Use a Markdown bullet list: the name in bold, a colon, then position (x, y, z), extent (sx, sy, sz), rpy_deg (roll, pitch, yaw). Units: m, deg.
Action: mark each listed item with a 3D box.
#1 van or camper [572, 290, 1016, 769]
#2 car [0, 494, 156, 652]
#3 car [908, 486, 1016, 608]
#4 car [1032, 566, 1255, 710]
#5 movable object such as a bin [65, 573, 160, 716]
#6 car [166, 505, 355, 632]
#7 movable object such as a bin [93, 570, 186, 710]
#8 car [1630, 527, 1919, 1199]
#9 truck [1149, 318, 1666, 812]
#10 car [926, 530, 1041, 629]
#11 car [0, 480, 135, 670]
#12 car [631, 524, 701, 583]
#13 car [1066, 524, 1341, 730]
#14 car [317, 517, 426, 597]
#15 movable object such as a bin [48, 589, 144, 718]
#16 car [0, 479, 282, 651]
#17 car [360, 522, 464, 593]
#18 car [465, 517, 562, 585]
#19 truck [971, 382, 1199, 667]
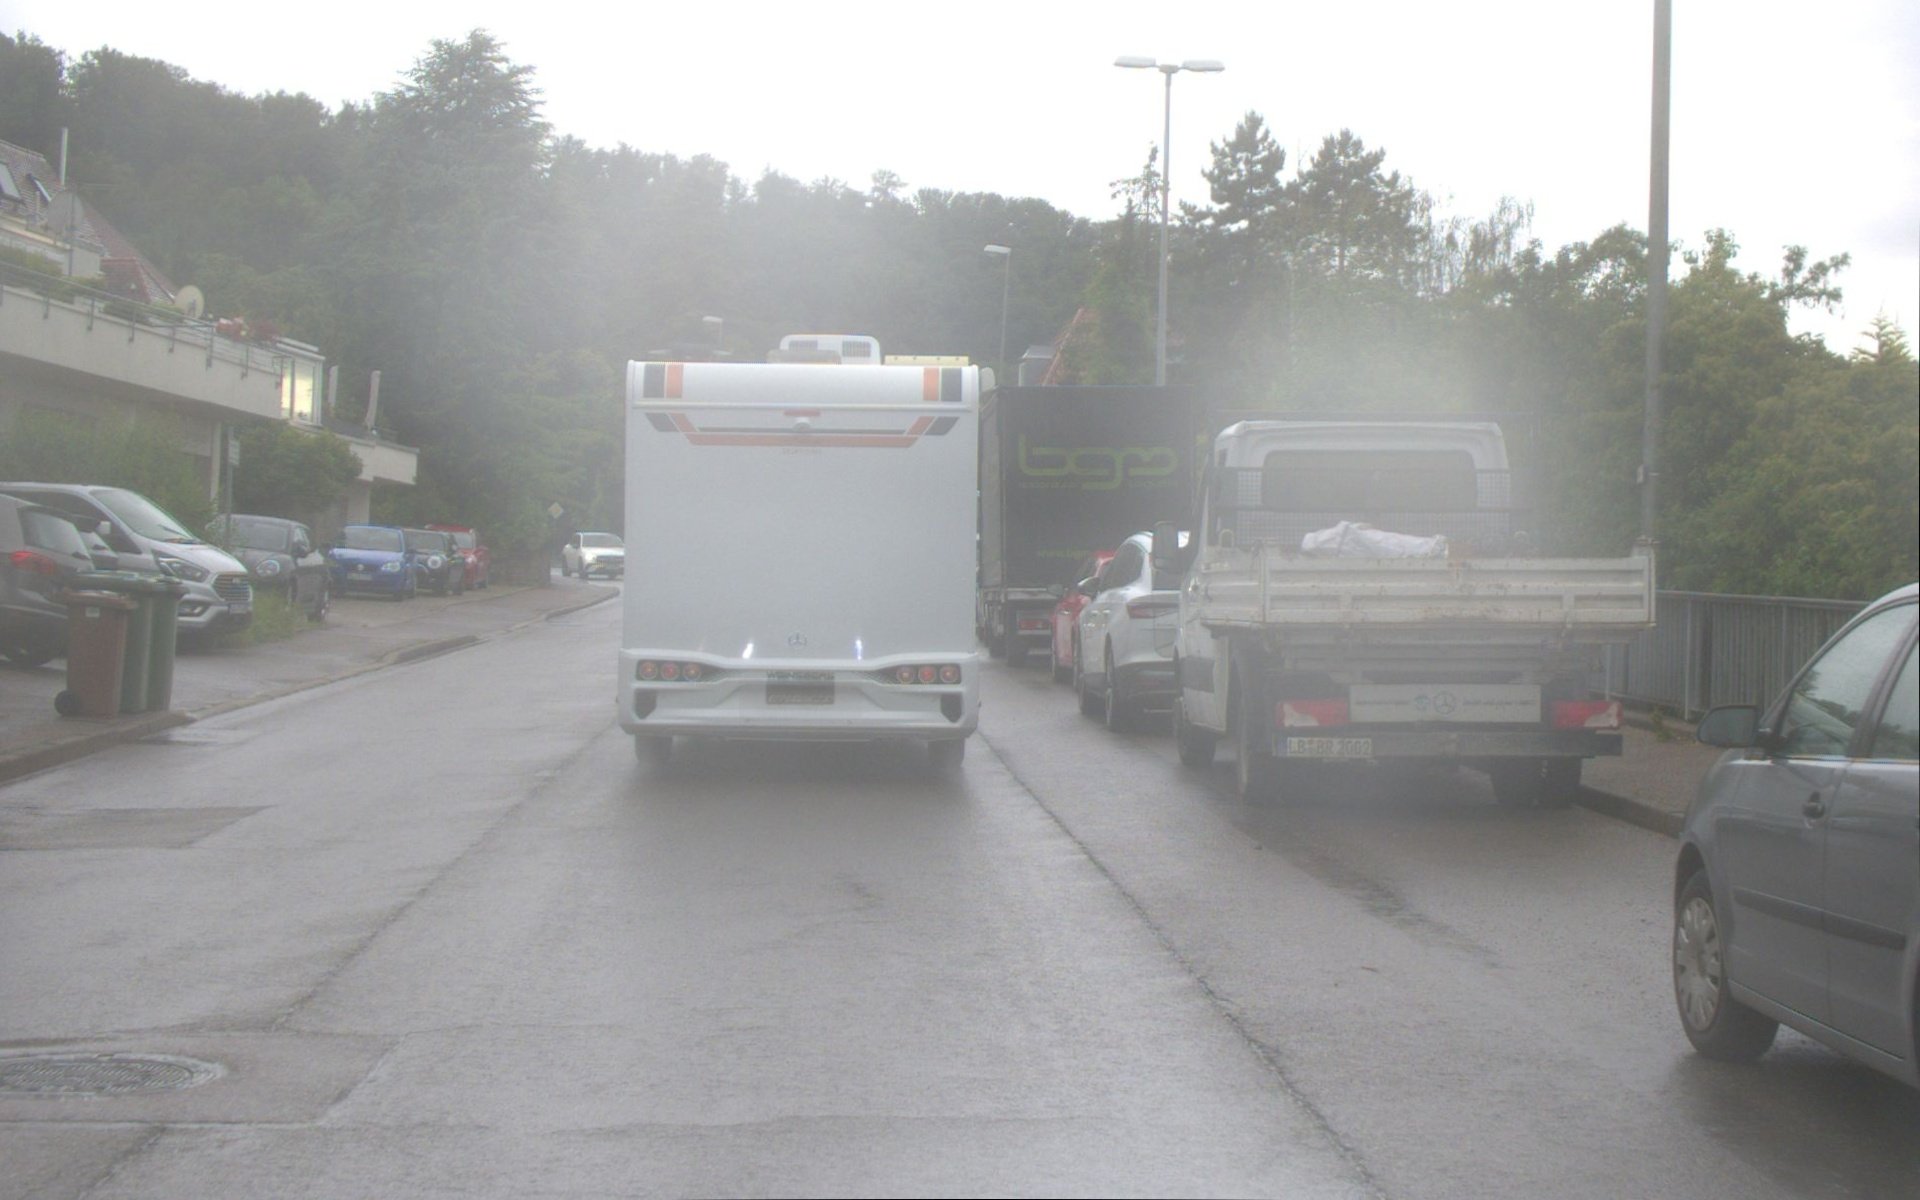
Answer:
- **van or camper**: position (-1.112, -0.398, 24.126), extent (2.615, 2.843, 6.031), rpy_deg (2, -1, -2)
- **car**: position (-11.119, -0.349, 37.568), extent (4.057, 1.632, 1.892), rpy_deg (3, 0, 14)
- **car**: position (-0.003, -1.137, 73.789), extent (2.031, 2.497, 5.957), rpy_deg (0, 1, -3)
- **car**: position (1.875, 0.352, 36.679), extent (1.832, 1.433, 4.987), rpy_deg (0, 1, -3)
- **movable object such as a bin**: position (-6.525, 0.335, 26.491), extent (0.602, 1.060, 0.638), rpy_deg (2, 1, -7)
- **car**: position (-10.223, -0.486, 50.501), extent (1.689, 1.583, 4.197), rpy_deg (7, 1, 1)
- **movable object such as a bin**: position (-6.480, 0.308, 27.172), extent (0.602, 1.060, 0.698), rpy_deg (2, 1, -7)
- **car**: position (2.963, 0.607, 8.805), extent (1.648, 1.558, 3.963), rpy_deg (0, 1, -1)
- **truck**: position (2.559, -0.215, 21.548), extent (2.239, 2.622, 6.539), rpy_deg (0, 1, -1)
- **car**: position (0.375, -0.386, 60.201), extent (1.936, 1.666, 4.694), rpy_deg (0, 1, -1)
- **car**: position (-10.150, -0.374, 32.452), extent (4.057, 1.686, 1.893), rpy_deg (5, 1, 11)
- **car**: position (-8.397, -1.355, 98.448), extent (1.906, 1.602, 4.429), rpy_deg (2, 1, -4)
- **car**: position (1.965, 0.187, 29.058), extent (1.759, 1.599, 4.667), rpy_deg (0, 1, -3)
- **car**: position (-11.768, -0.890, 68.965), extent (1.607, 1.429, 3.960), rpy_deg (5, 1, -3)
- **movable object such as a bin**: position (-6.463, 0.395, 25.738), extent (0.602, 0.925, 0.564), rpy_deg (2, 1, -7)
- **car**: position (-10.807, -0.426, 40.579), extent (5.088, 1.938, 2.140), rpy_deg (0, 1, 14)
- **car**: position (-11.918, -0.937, 75.023), extent (1.633, 1.391, 4.239), rpy_deg (5, 1, -2)
- **car**: position (-10.777, -1.196, 83.189), extent (1.774, 1.432, 4.589), rpy_deg (6, 1, -2)
- **truck**: position (1.480, -0.922, 44.207), extent (2.436, 3.324, 7.965), rpy_deg (0, 1, -1)
